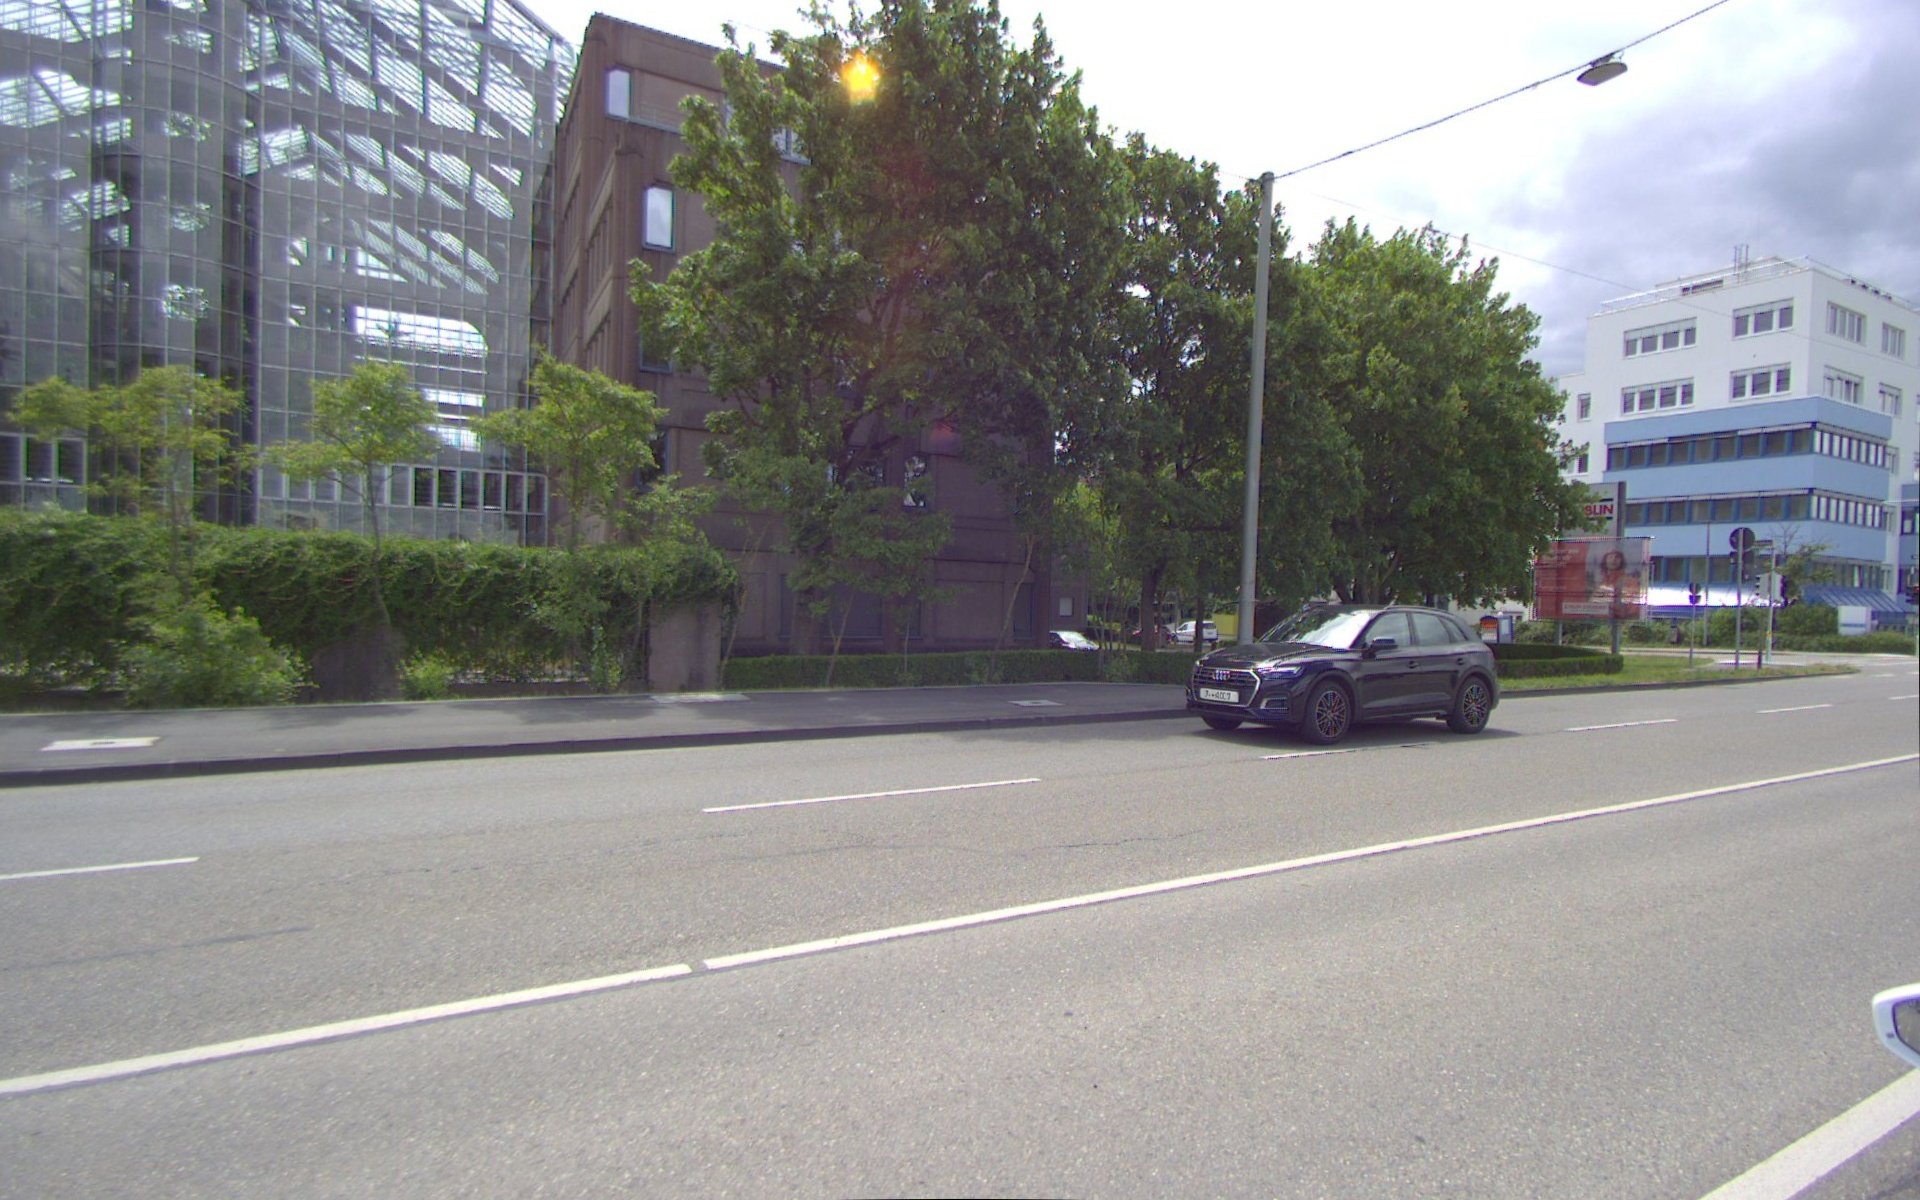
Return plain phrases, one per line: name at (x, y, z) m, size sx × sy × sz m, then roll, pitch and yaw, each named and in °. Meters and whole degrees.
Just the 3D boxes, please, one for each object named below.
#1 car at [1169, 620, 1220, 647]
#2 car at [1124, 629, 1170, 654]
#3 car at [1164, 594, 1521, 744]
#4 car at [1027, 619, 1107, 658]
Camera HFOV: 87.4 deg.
car at (19.269, 2.771, 82.846) m, size 1.975 × 2.007 × 3.972 m, roll 2°, pitch 0°, yaw -27°
car at (16.363, 3.618, 87.911) m, size 1.869 × 2.040 × 3.972 m, roll 2°, pitch 0°, yaw -27°
car at (5.001, 0.818, 12.985) m, size 4.517 × 1.636 × 1.859 m, roll 2°, pitch 0°, yaw -30°
car at (4.907, 1.786, 46.600) m, size 1.765 × 1.750 × 3.970 m, roll 1°, pitch -3°, yaw -29°
